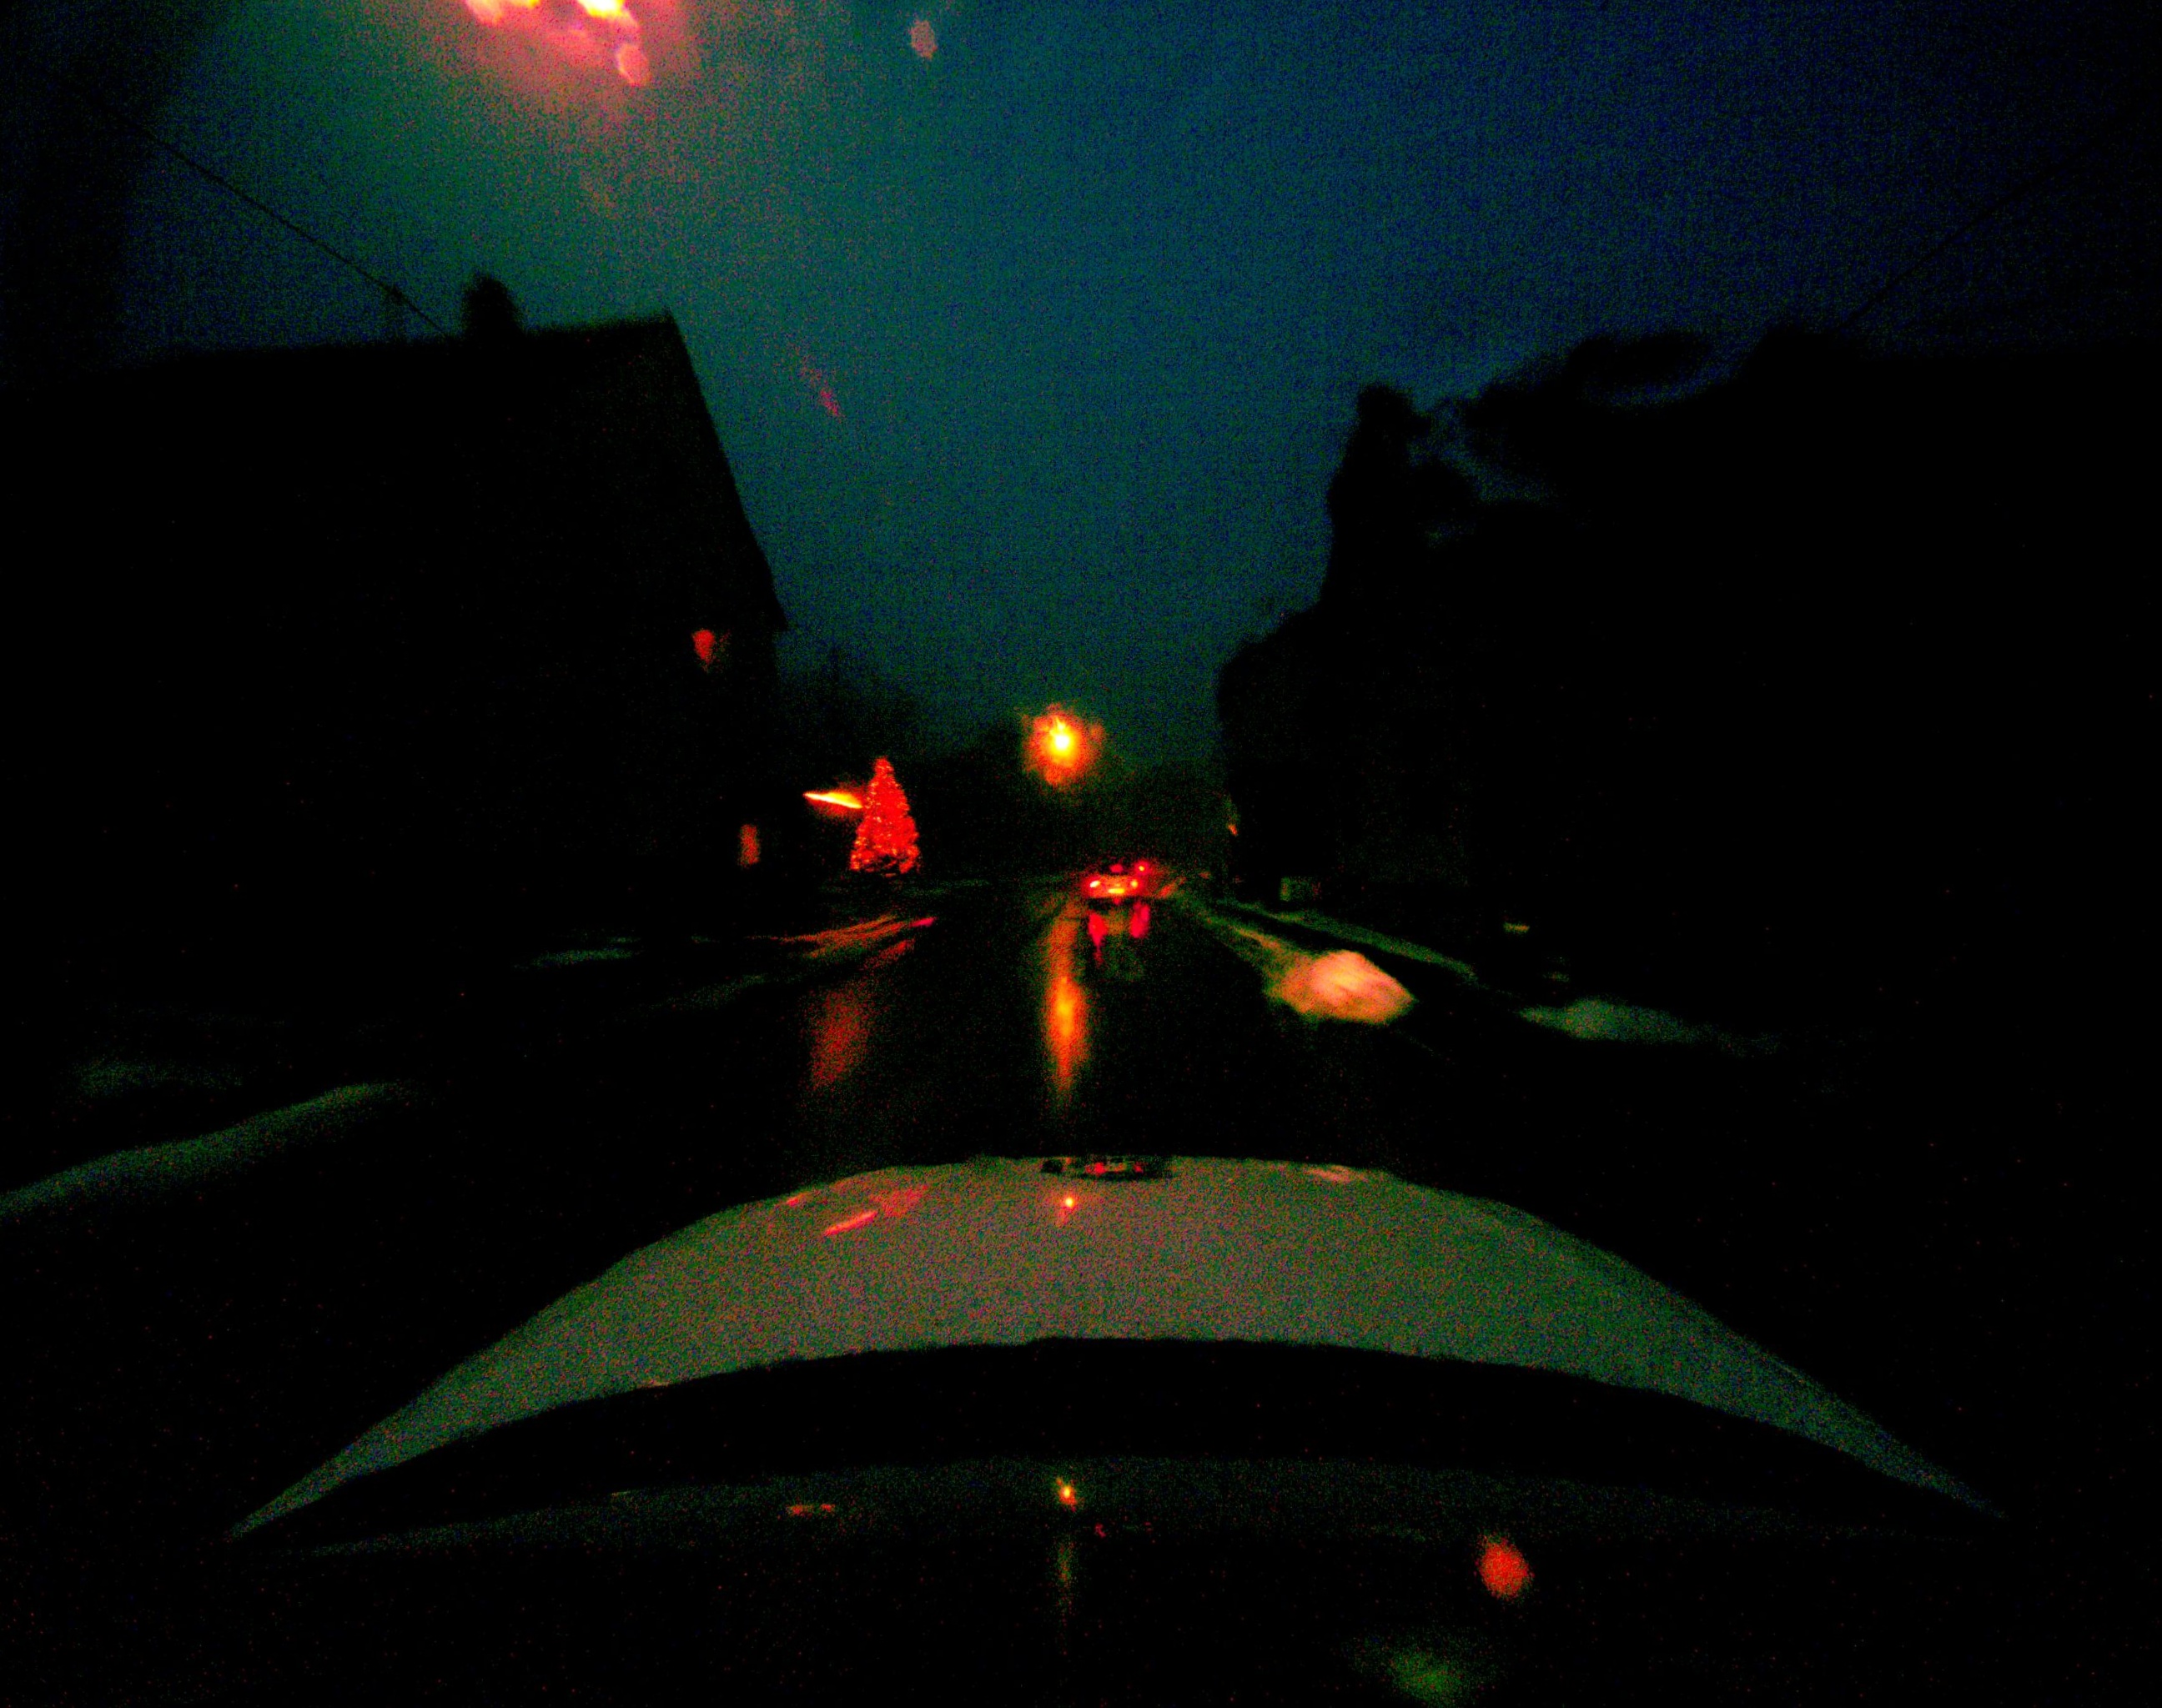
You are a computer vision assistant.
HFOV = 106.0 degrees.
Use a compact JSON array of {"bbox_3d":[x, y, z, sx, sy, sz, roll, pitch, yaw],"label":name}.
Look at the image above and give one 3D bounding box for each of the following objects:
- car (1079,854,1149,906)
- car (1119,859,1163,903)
[{"bbox_3d":[1.192,0.906,27.258,1.983,1.508,4.006,3,-3,6],"label":"car"},{"bbox_3d":[3.083,1.383,41.034,1.983,2.014,4.006,3,-3,6],"label":"car"}]
